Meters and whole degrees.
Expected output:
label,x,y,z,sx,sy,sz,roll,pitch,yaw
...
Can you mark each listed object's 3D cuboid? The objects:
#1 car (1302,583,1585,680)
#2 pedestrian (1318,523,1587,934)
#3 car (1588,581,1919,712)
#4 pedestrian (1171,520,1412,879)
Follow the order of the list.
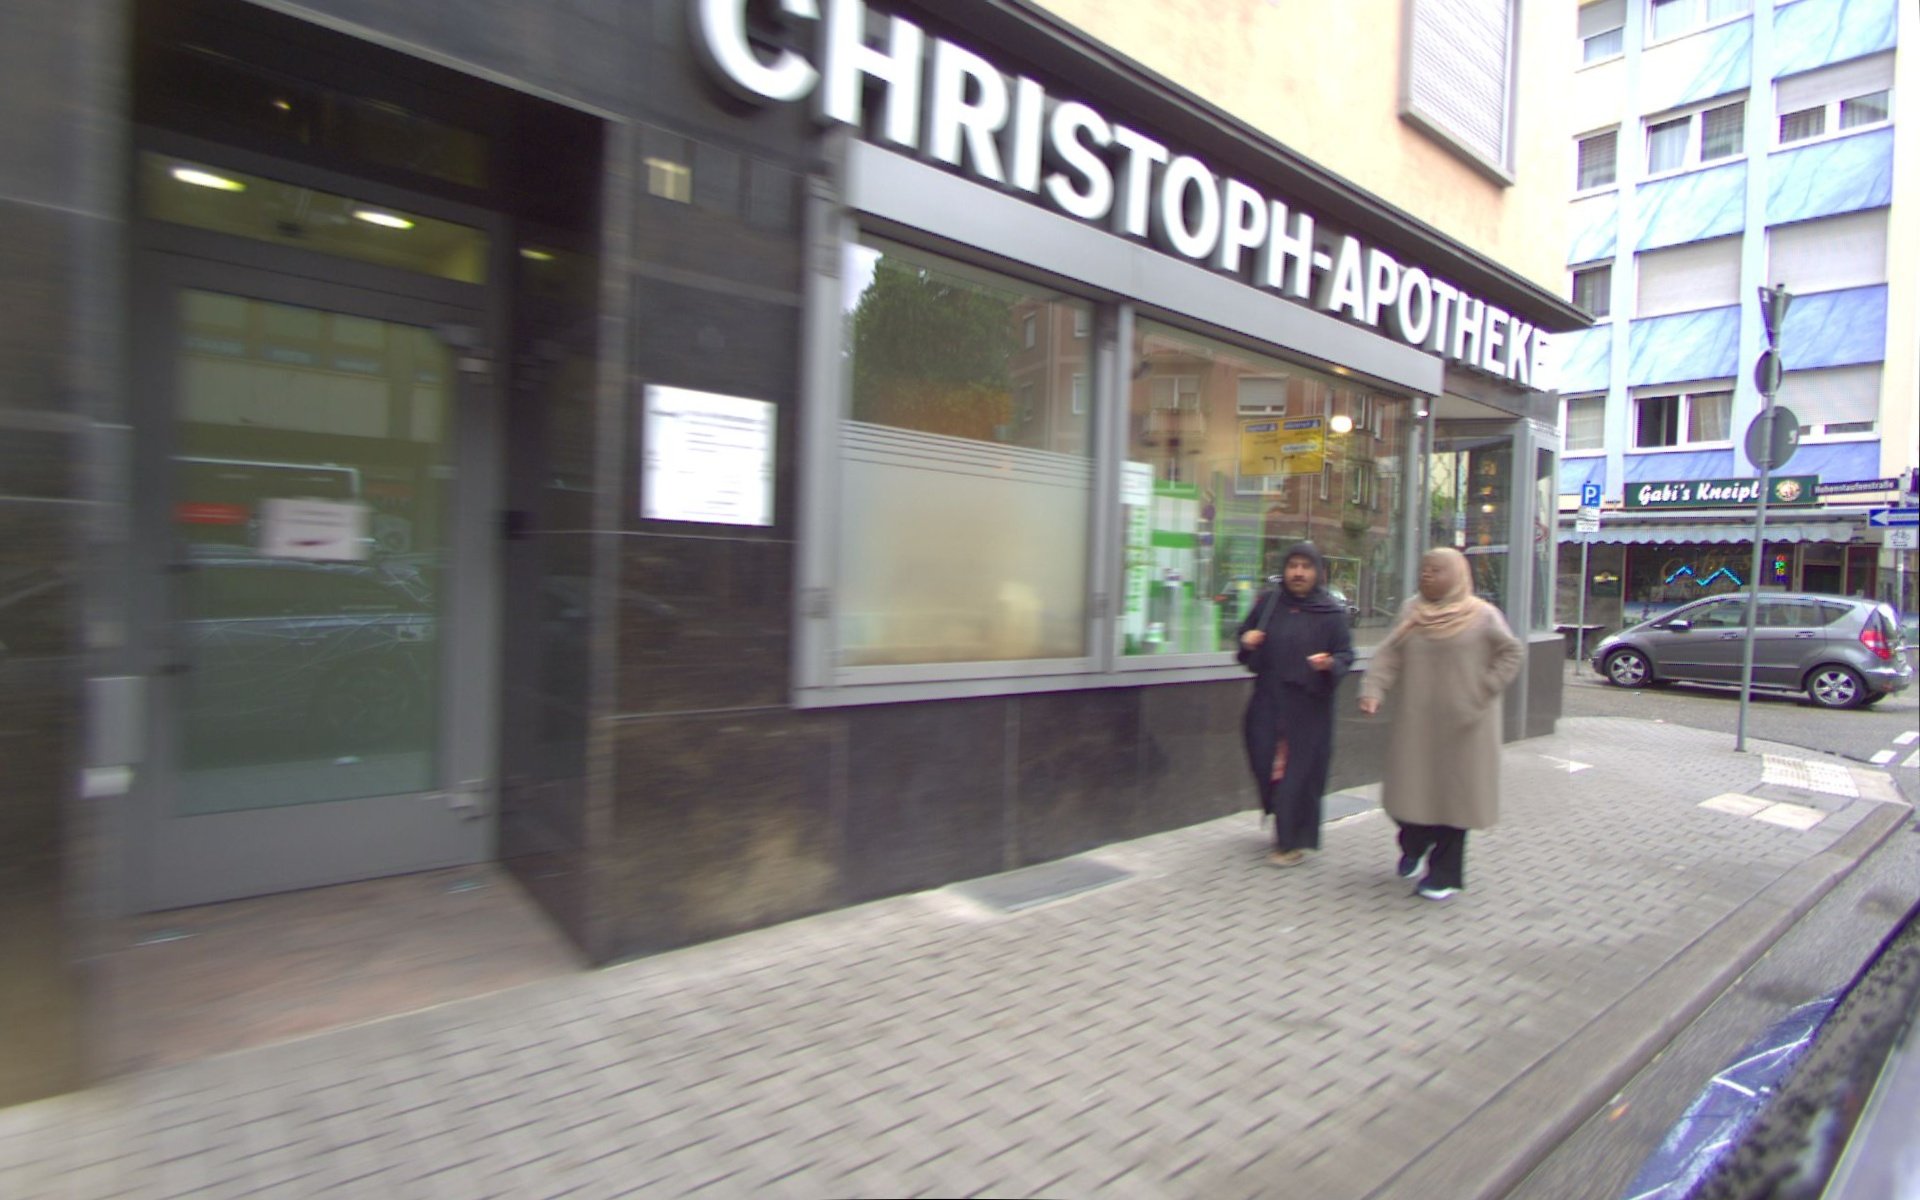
label,x,y,z,sx,sy,sz,roll,pitch,yaw
car,8.916,0.480,19.051,1.753,1.459,4.494,0,3,-36
pedestrian,2.142,0.474,4.418,0.769,1.579,0.780,0,2,-42
car,12.053,0.571,15.340,1.899,1.593,3.839,0,3,-35
pedestrian,1.640,0.419,5.022,0.861,1.579,0.769,0,2,-42
